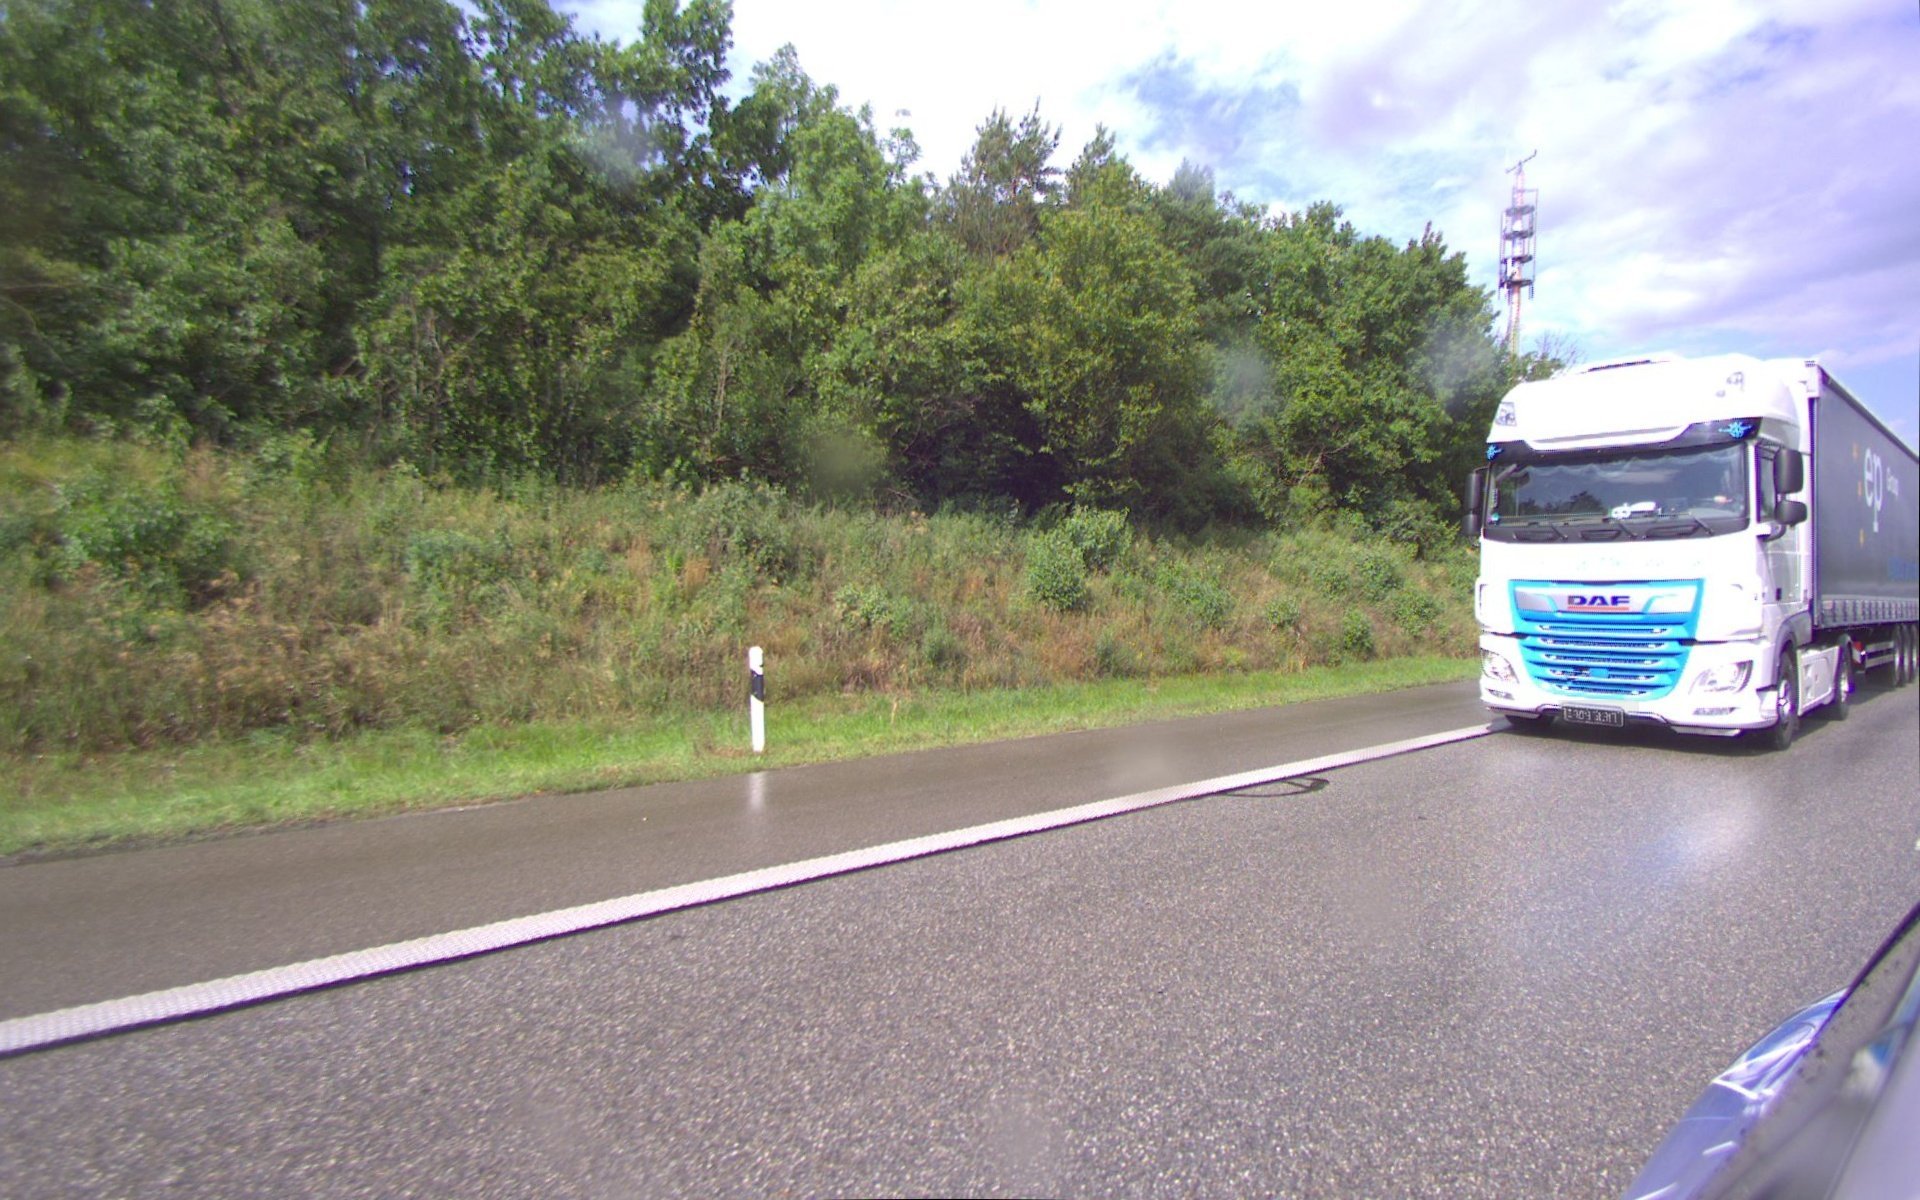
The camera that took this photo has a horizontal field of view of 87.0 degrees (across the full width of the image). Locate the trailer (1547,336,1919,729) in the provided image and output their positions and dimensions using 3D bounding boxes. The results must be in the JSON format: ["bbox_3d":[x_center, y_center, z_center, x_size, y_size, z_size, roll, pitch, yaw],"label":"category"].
[{"bbox_3d":[13.244,-0.770,16.025,13.821,4.046,2.638,-1,0,-42],"label":"trailer"}]

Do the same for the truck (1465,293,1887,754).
[{"bbox_3d":[8.963,-0.715,12.260,7.164,4.046,2.611,-1,0,-42],"label":"truck"}]
